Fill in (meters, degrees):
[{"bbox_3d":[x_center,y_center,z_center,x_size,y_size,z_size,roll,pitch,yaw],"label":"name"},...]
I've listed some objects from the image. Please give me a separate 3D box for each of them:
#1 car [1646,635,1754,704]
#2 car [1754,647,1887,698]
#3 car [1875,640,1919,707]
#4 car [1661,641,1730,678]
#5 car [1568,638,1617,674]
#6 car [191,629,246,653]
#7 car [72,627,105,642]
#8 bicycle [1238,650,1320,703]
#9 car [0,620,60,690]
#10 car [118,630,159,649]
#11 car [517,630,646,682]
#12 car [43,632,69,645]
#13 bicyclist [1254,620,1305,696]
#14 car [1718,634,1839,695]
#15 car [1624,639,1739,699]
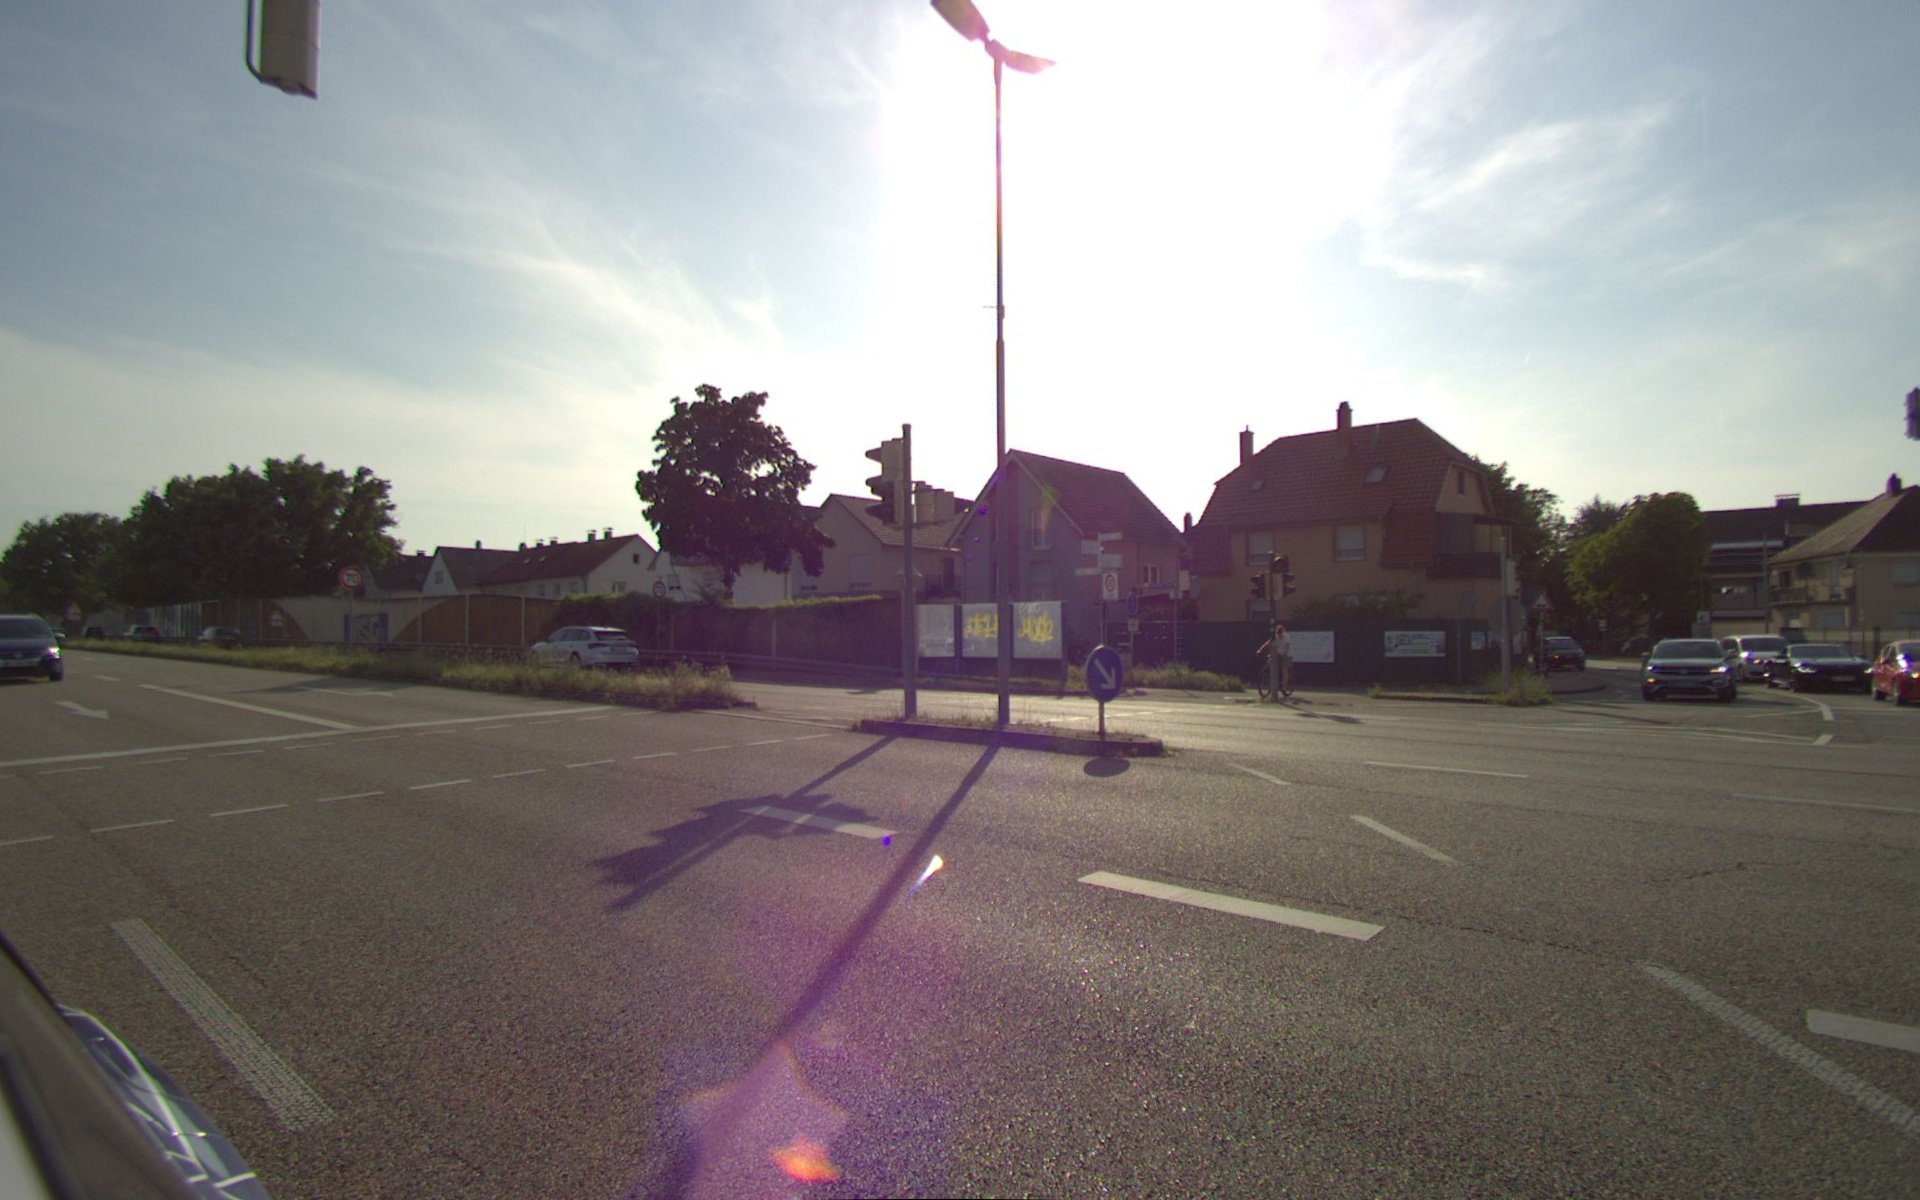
[{"bbox_3d":[18.510,1.714,25.244,1.758,1.575,3.944,-1,-4,42],"label":"car"},{"bbox_3d":[24.420,2.031,28.884,1.744,1.186,3.589,-1,0,21],"label":"car"},{"bbox_3d":[22.198,1.670,22.900,1.638,1.424,4.254,-2,-4,35],"label":"car"},{"bbox_3d":[33.955,2.711,46.800,1.775,1.497,3.400,-1,0,23],"label":"car"},{"bbox_3d":[29.904,2.614,47.940,1.709,1.497,3.804,-1,0,29],"label":"car"},{"bbox_3d":[-45.589,2.492,62.214,4.552,1.394,1.770,-1,-1,41],"label":"car"},{"bbox_3d":[-81.686,3.247,94.797,3.774,1.363,1.843,-1,-4,42],"label":"car"},{"bbox_3d":[7.762,1.829,24.579,2.128,1.201,0.905,2,-2,-40],"label":"bicycle"},{"bbox_3d":[-24.072,1.333,25.386,4.681,1.634,1.753,-1,-1,42],"label":"car"},{"bbox_3d":[-63.900,3.041,78.734,3.996,1.364,1.717,-1,-1,39],"label":"car"},{"bbox_3d":[-11.803,1.710,31.442,4.733,1.473,1.735,-2,-4,42],"label":"car"},{"bbox_3d":[-97.361,4.117,108.977,3.495,1.371,1.523,-1,-4,39],"label":"car"},{"bbox_3d":[7.766,1.396,24.607,0.844,1.800,0.848,4,-4,-40],"label":"bicyclist"},{"bbox_3d":[28.135,2.169,34.952,1.985,1.829,4.153,-1,0,20],"label":"car"},{"bbox_3d":[21.968,2.057,30.977,1.812,1.576,3.974,-1,0,20],"label":"car"}]
